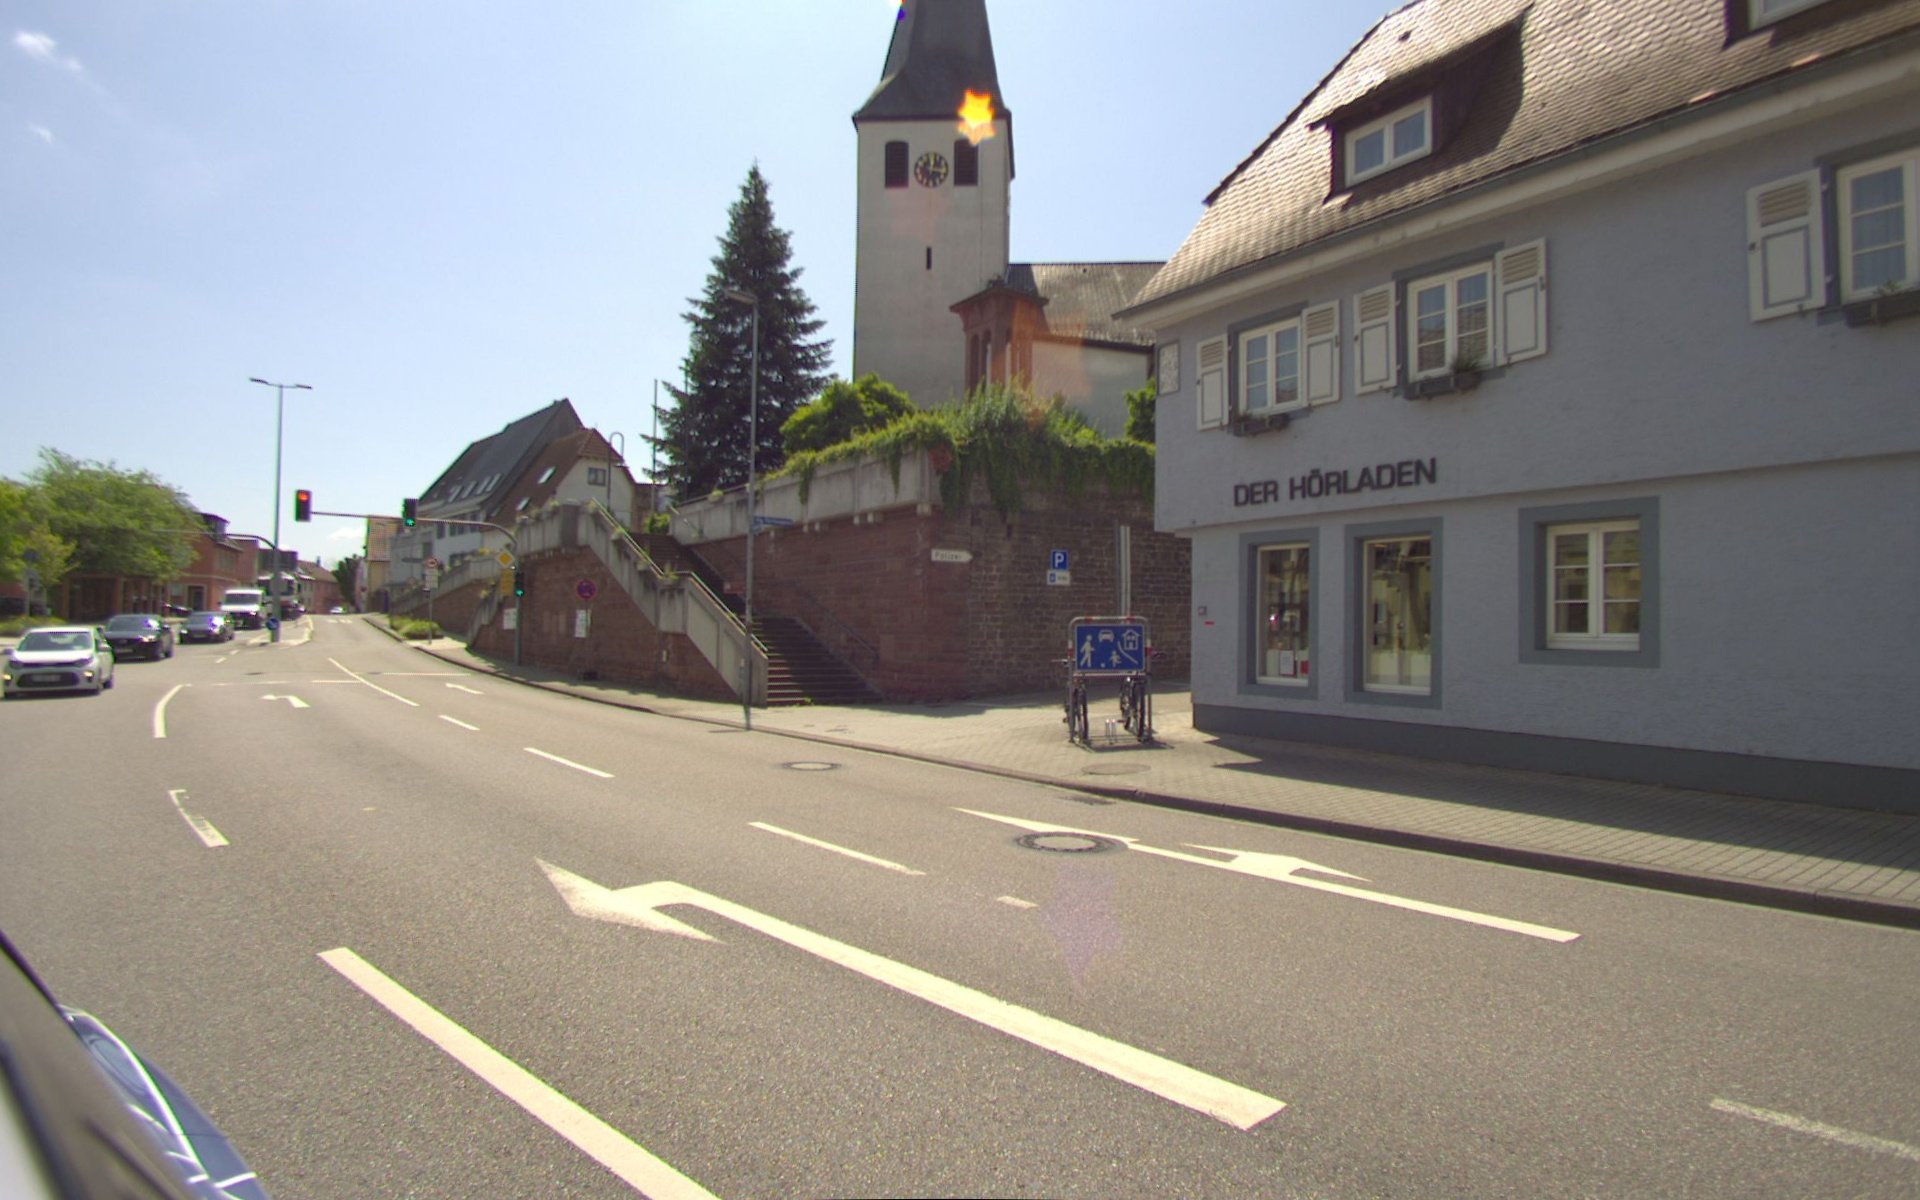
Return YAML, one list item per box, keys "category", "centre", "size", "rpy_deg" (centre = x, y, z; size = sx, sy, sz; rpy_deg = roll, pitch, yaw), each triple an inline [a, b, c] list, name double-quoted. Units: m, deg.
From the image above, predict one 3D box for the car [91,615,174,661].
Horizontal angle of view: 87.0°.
- category: "car"
  centre: [-29.840, 1.320, 36.595]
  size: [1.696, 1.562, 4.316]
  rpy_deg: [0, 0, -31]

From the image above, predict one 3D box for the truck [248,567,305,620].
- category: "truck"
  centre: [-49.023, -0.356, 72.723]
  size: [2.801, 3.597, 5.485]
  rpy_deg: [1, -2, -29]

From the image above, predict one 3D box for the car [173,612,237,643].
- category: "car"
  centre: [-36.256, 1.298, 48.714]
  size: [1.897, 1.376, 4.316]
  rpy_deg: [0, 0, -29]

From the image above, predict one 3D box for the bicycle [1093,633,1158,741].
- category: "bicycle"
  centre: [2.167, 1.105, 13.444]
  size: [0.571, 1.258, 1.830]
  rpy_deg: [-3, 0, 3]

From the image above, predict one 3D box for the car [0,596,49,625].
- category: "car"
  centre: [-57.696, 0.641, 61.218]
  size: [3.701, 1.723, 1.729]
  rpy_deg: [0, 0, -36]

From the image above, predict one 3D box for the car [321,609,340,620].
- category: "car"
  centre: [-100.935, 2.382, 162.245]
  size: [1.978, 1.643, 4.592]
  rpy_deg: [1, -2, -24]

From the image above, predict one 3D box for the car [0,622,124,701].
- category: "car"
  centre: [-20.311, 1.303, 22.847]
  size: [1.697, 1.562, 4.315]
  rpy_deg: [0, 0, -33]

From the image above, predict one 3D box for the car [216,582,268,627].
- category: "car"
  centre: [-42.770, 0.318, 60.384]
  size: [2.139, 2.583, 4.838]
  rpy_deg: [1, -2, -31]

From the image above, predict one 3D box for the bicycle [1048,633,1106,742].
- category: "bicycle"
  centre: [1.524, 1.108, 13.410]
  size: [0.571, 1.258, 1.830]
  rpy_deg: [-3, 0, 3]

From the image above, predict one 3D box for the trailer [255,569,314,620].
- category: "trailer"
  centre: [-52.128, -0.275, 78.334]
  size: [2.791, 3.597, 10.999]
  rpy_deg: [1, -2, -29]
